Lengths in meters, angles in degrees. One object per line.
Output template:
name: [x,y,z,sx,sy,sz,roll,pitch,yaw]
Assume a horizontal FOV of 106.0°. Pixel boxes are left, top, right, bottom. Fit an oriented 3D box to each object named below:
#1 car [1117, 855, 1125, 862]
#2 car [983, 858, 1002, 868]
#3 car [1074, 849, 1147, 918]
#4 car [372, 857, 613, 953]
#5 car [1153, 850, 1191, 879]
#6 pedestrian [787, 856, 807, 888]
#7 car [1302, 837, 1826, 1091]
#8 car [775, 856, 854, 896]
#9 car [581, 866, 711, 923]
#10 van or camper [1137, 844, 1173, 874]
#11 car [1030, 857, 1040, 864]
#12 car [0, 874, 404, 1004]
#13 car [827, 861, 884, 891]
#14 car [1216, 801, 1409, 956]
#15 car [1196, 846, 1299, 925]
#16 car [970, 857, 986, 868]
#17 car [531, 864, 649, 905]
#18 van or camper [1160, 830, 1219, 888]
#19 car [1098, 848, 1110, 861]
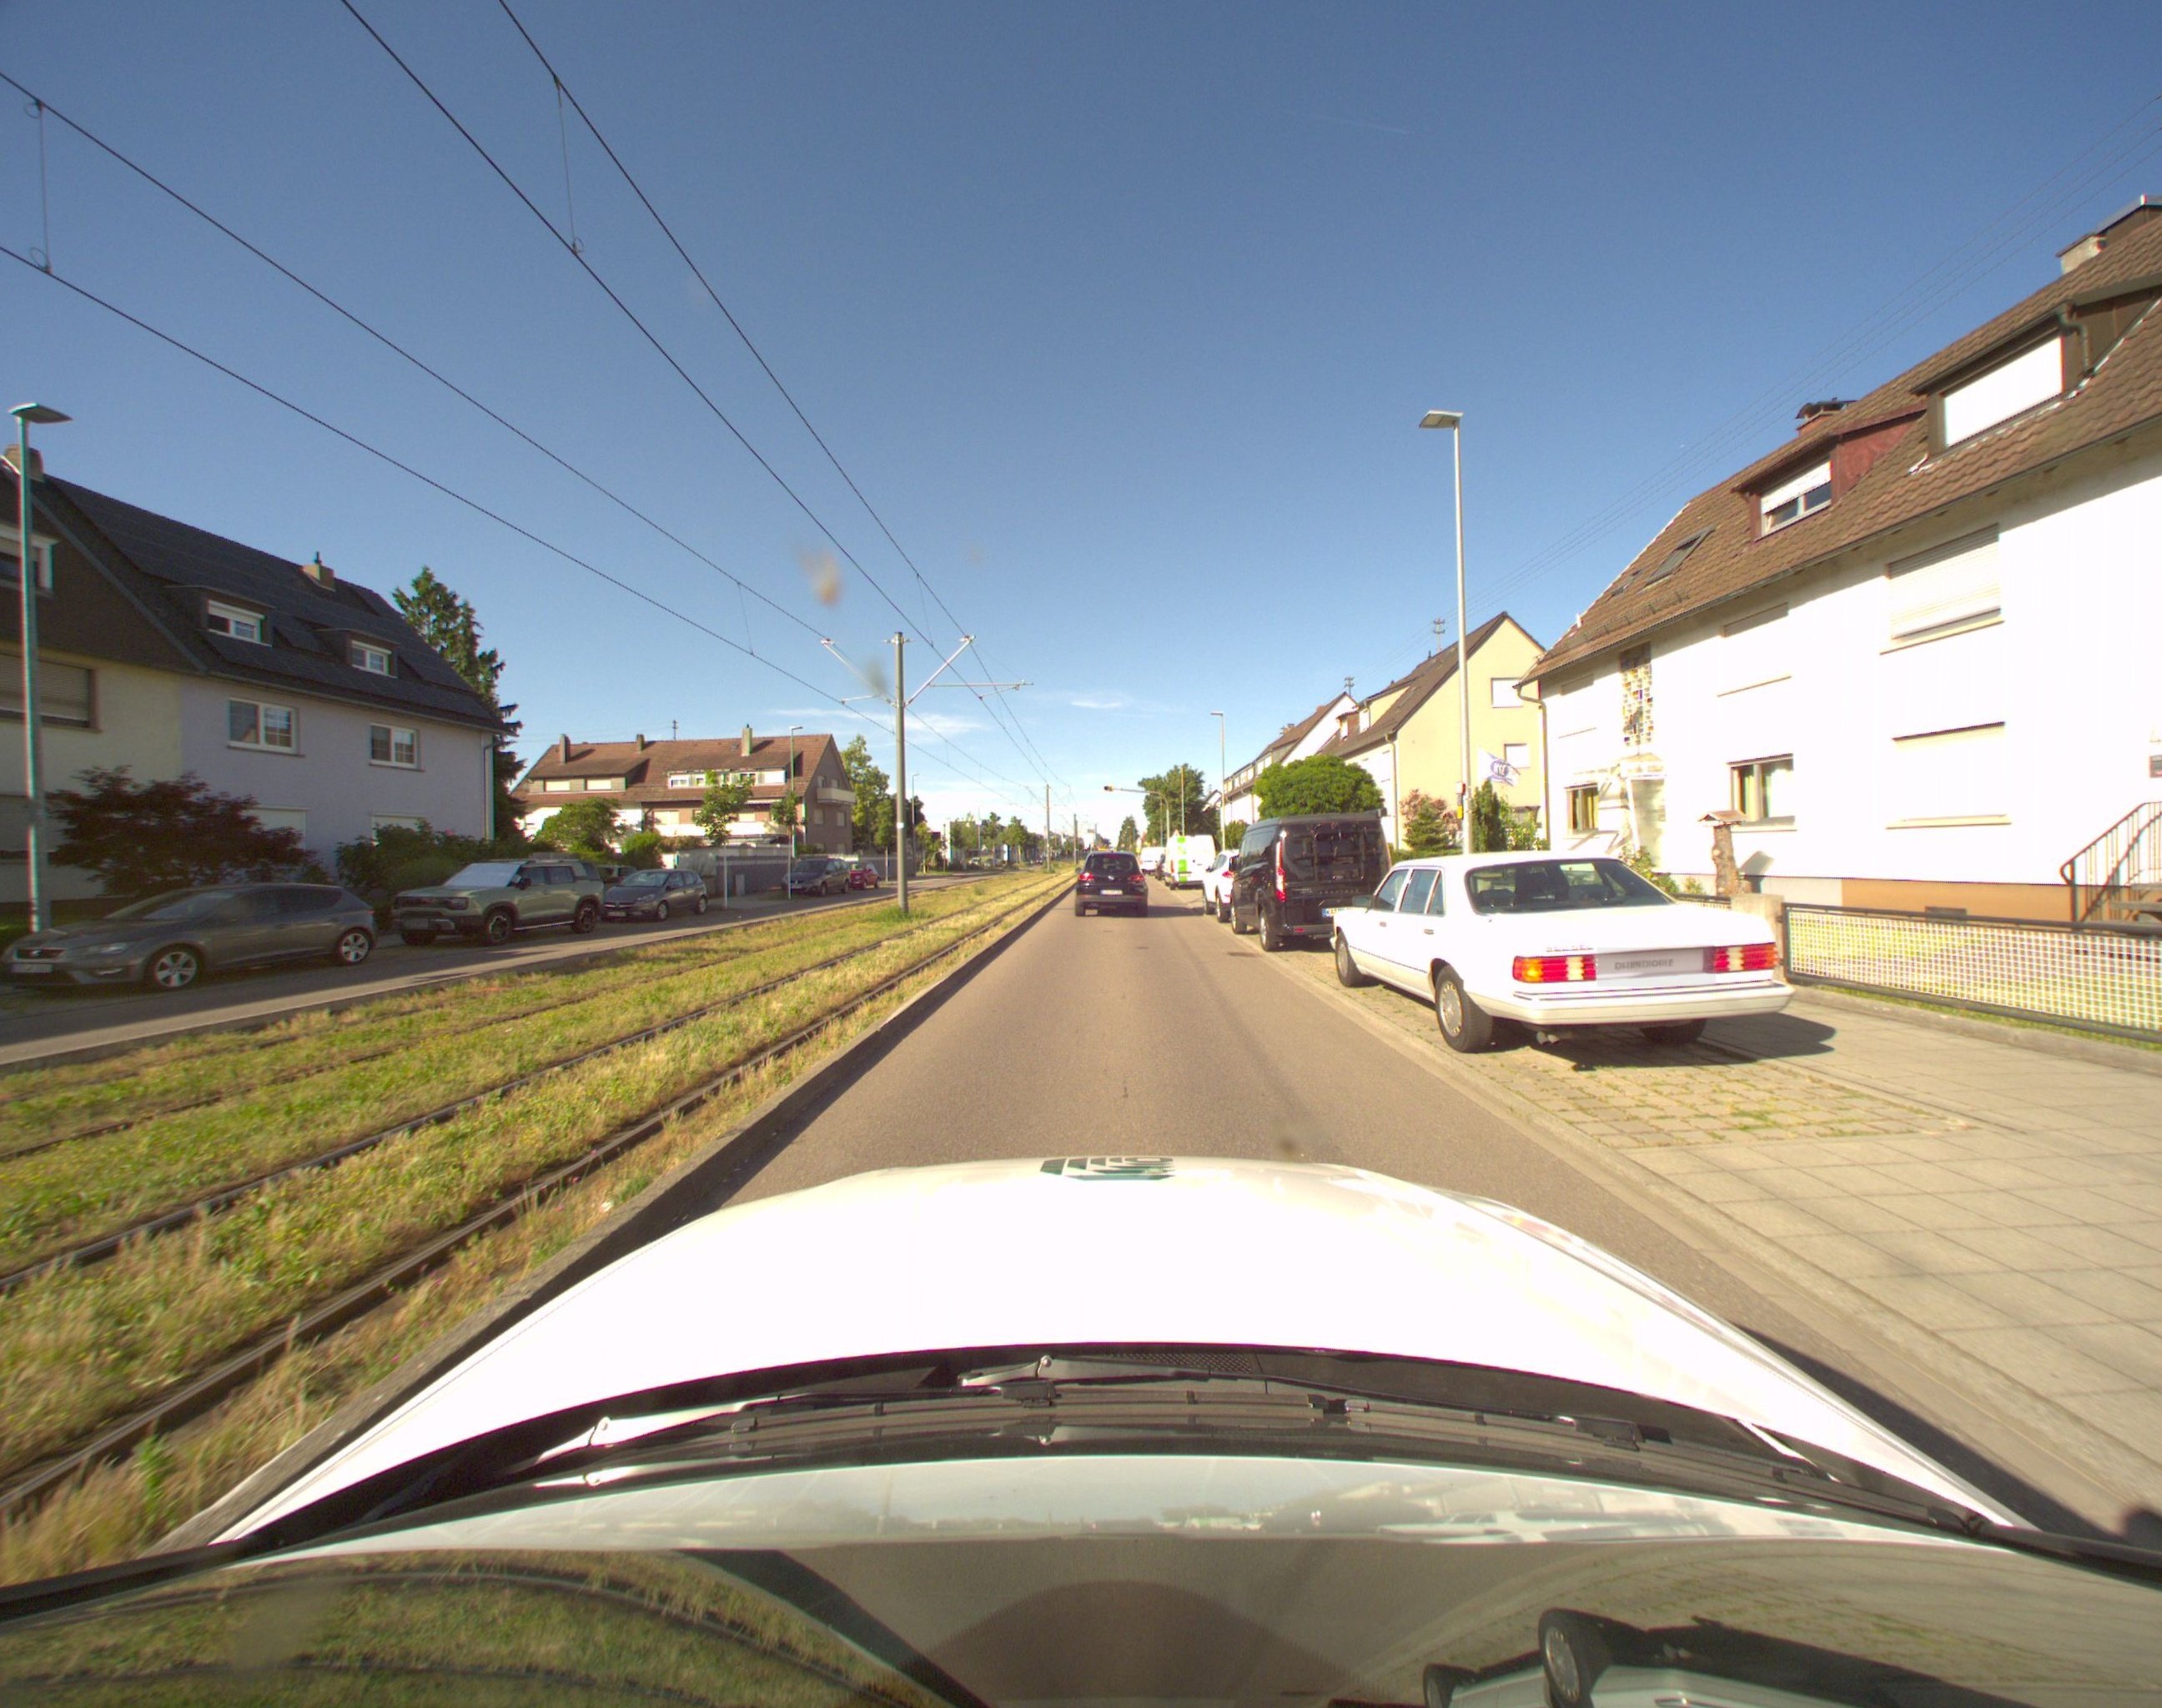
car: [9.802,1.077,200.722,1.770,1.670,4.000,-1,0,0]
car: [-13.389,1.343,123.396,1.801,1.461,4.325,0,0,7]
car: [0.729,0.713,21.606,1.770,1.670,4.000,0,0,0]
car: [-12.887,1.009,18.333,1.738,1.823,4.844,0,0,2]
car: [5.201,0.585,47.151,1.742,1.494,5.158,-3,0,2]
pedestrian: [-14.654,0.908,41.994,0.693,1.640,0.920,0,-1,0]
car: [3.675,0.655,7.732,1.845,1.443,5.618,-3,0,3]
car: [-12.143,0.967,37.459,1.812,1.684,4.849,0,0,3]
car: [-12.820,1.152,24.313,1.671,1.491,4.049,0,0,0]
van or camper: [5.248,0.324,57.513,2.015,1.956,5.310,-2,0,10]
car: [-10.342,1.463,184.881,1.681,1.389,4.392,-3,0,4]
car: [-13.392,1.134,12.572,1.953,1.540,4.559,0,0,2]
car: [-11.941,1.123,43.437,1.688,1.405,4.081,-2,0,3]
car: [3.749,0.356,14.305,1.952,2.144,5.338,-2,0,2]
car: [3.936,0.696,19.915,1.719,1.645,4.320,-2,0,2]
car: [-13.952,1.090,110.485,1.539,1.491,3.776,0,0,1]
car: [-19.193,1.174,31.926,3.596,1.473,1.707,-1,0,3]
van or camper: [4.779,0.225,36.827,1.986,2.271,6.308,-3,0,2]
car: [4.846,0.050,171.475,2.385,2.564,5.533,-1,0,3]
